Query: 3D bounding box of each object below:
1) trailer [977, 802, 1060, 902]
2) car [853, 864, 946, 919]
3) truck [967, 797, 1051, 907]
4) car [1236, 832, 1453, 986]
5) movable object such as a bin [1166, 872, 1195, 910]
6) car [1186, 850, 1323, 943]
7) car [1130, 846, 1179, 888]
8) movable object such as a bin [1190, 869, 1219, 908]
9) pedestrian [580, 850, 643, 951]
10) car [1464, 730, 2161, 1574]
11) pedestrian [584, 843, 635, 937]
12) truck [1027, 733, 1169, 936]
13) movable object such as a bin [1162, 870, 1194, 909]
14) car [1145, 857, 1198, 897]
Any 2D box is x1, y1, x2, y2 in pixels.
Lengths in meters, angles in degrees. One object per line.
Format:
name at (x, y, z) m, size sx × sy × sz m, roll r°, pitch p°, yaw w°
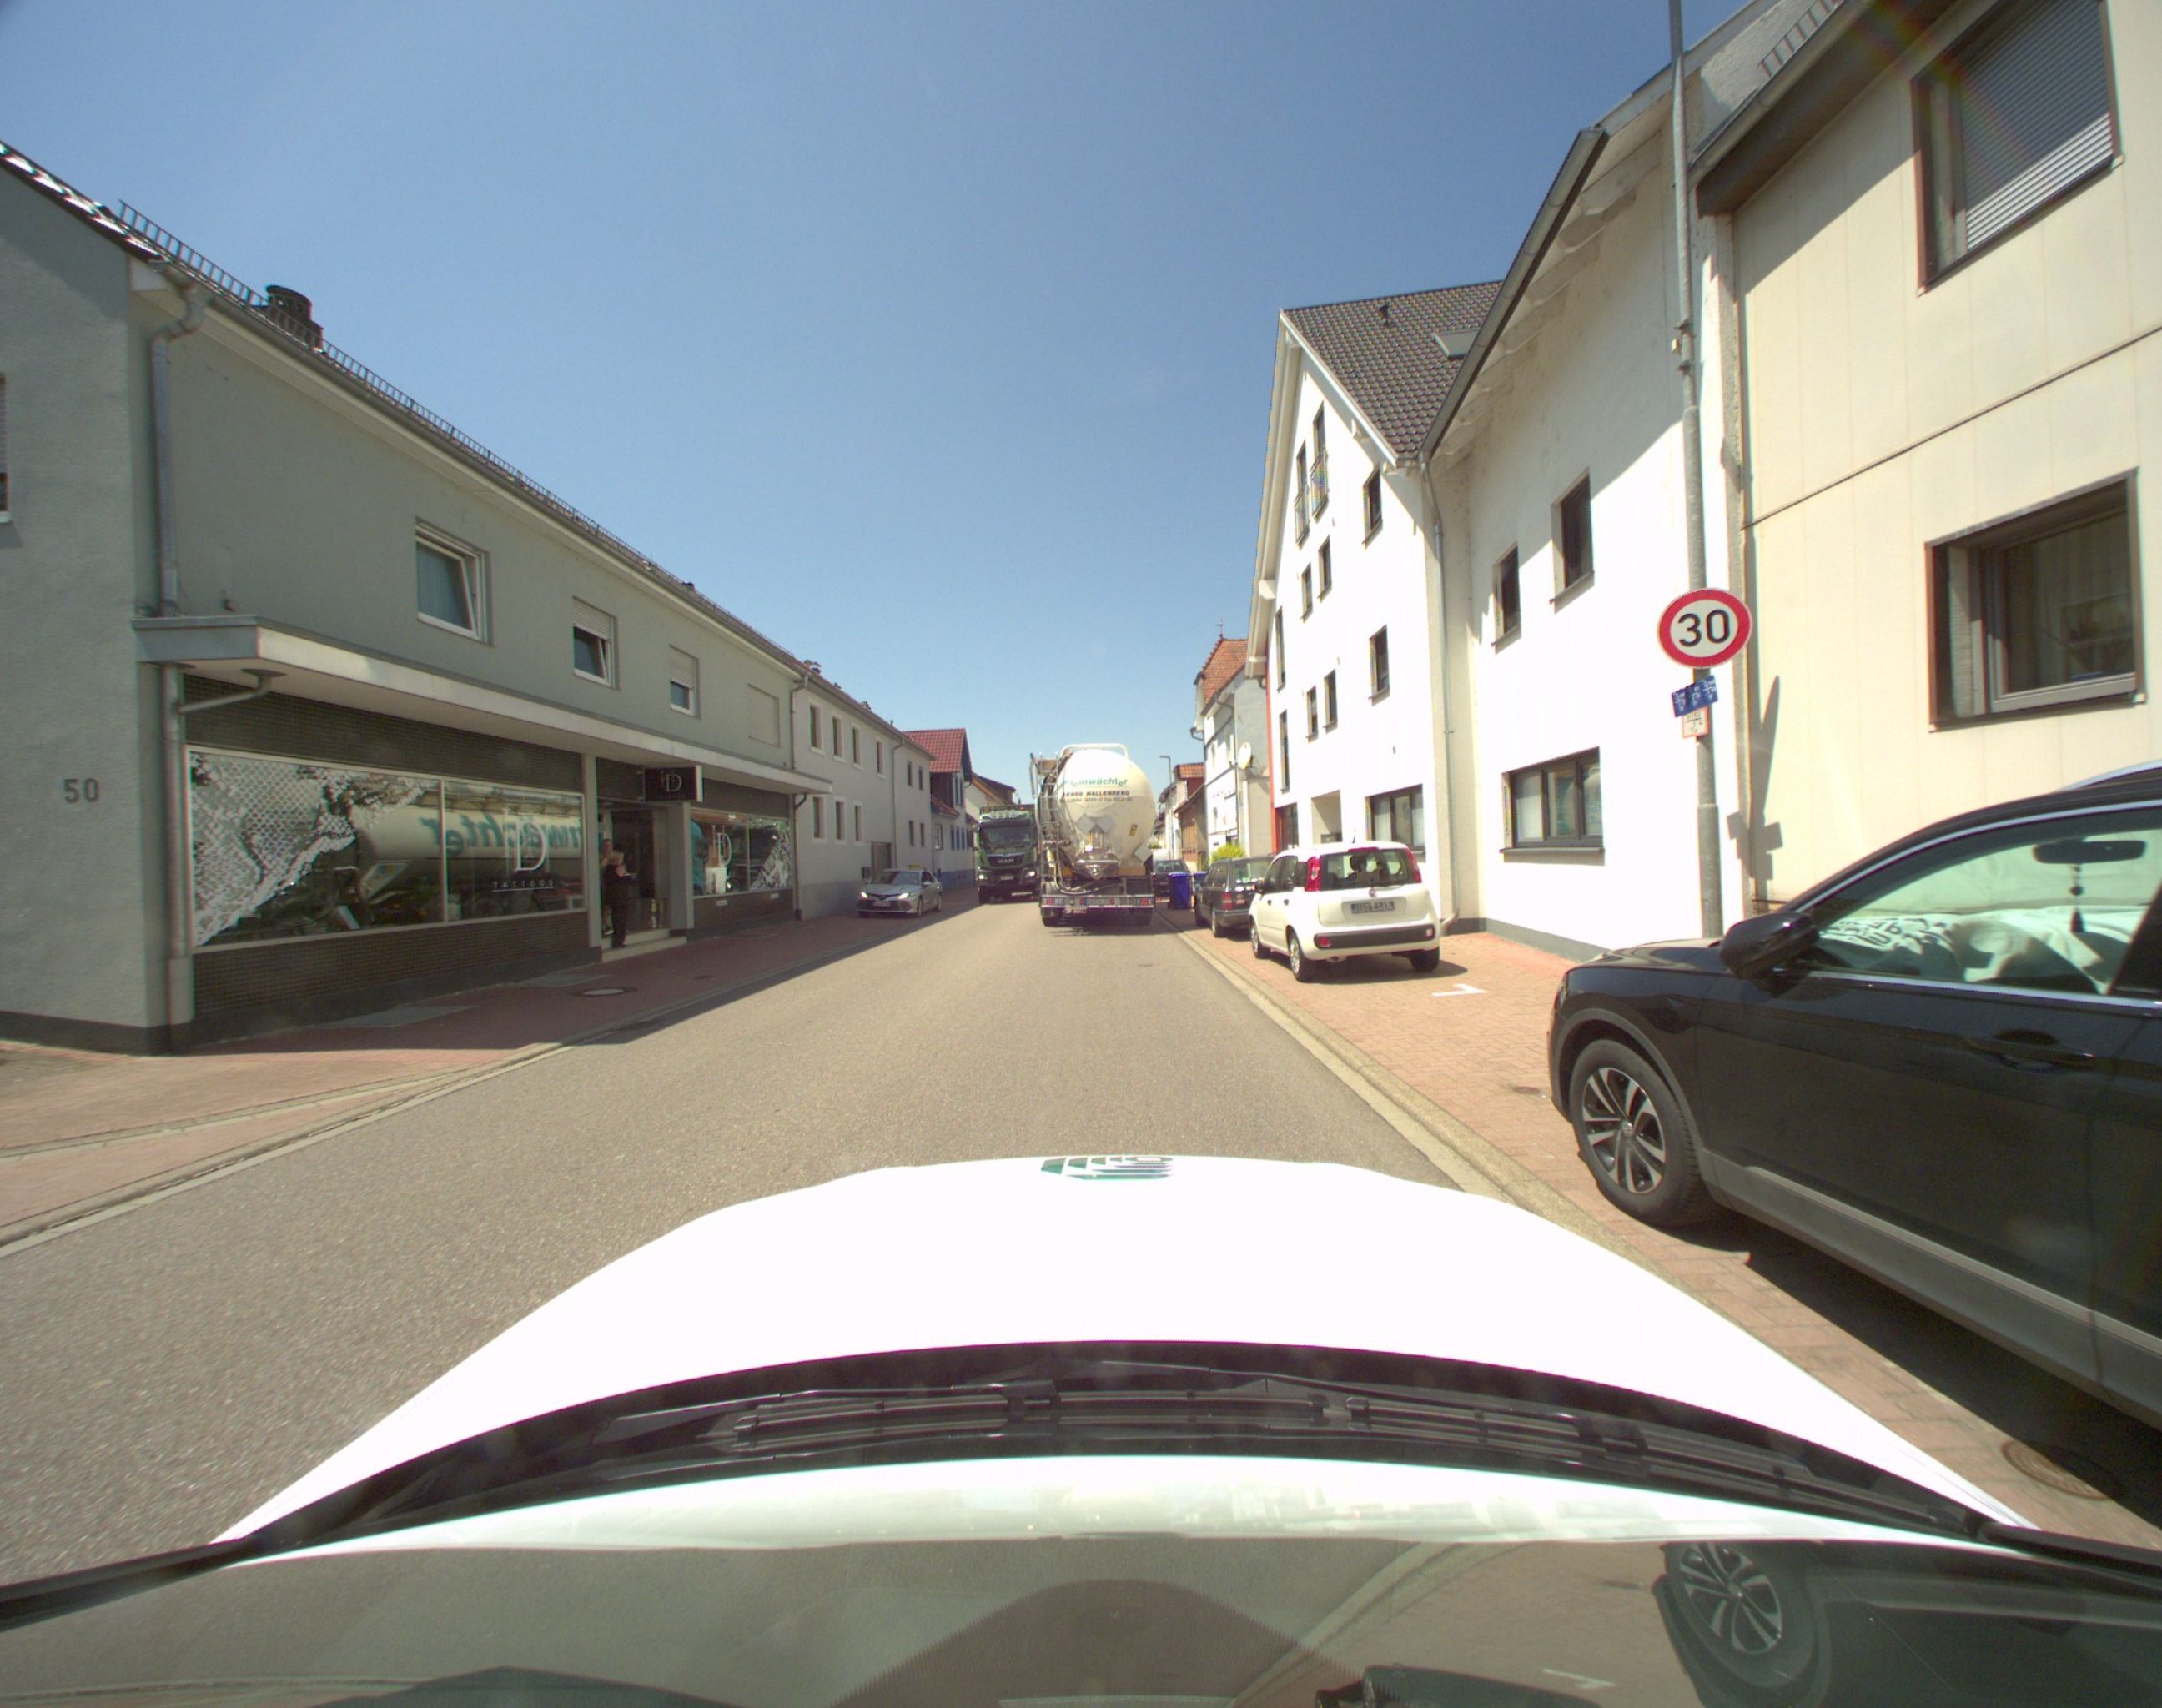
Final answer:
trailer at (-2.773, -0.016, 41.437) m, size 2.622 × 3.979 × 15.698 m, roll -4°, pitch -1°, yaw 1°
car at (-5.592, 1.110, 25.714) m, size 1.802 × 1.557 × 4.566 m, roll 0°, pitch 0°, yaw 1°
truck at (-2.861, -0.053, 34.235) m, size 2.610 × 3.985 × 6.852 m, roll -4°, pitch -1°, yaw 1°
car at (3.168, 0.604, 10.518) m, size 1.601 × 1.522 × 3.545 m, roll -5°, pitch -1°, yaw 1°
movable object such as a bin at (2.896, 1.066, 23.708) m, size 0.650 × 1.035 × 0.687 m, roll -4°, pitch -1°, yaw 17°
car at (3.247, 0.734, 16.193) m, size 1.694 × 1.447 × 4.837 m, roll -5°, pitch -1°, yaw 1°
car at (3.717, 0.635, 41.845) m, size 1.940 × 1.970 × 4.783 m, roll -3°, pitch 0°, yaw -1°
movable object such as a bin at (3.578, 0.982, 23.603) m, size 0.649 × 1.060 × 0.839 m, roll -4°, pitch -1°, yaw 17°
pedestrian at (-8.125, 0.791, 14.120) m, size 0.622 × 1.685 × 0.771 m, roll -1°, pitch -1°, yaw 0°
car at (2.928, 0.512, 2.026) m, size 1.796 × 1.614 × 4.549 m, roll -4°, pitch 0°, yaw 1°
pedestrian at (-8.886, 0.674, 15.349) m, size 0.657 × 1.713 × 0.635 m, roll -2°, pitch -2°, yaw 41°
truck at (0.425, -0.334, 20.142) m, size 2.723 × 3.960 × 8.143 m, roll -1°, pitch -1°, yaw 1°
movable object such as a bin at (2.936, 1.051, 24.497) m, size 0.716 × 1.073 × 0.976 m, roll -4°, pitch -1°, yaw 17°
car at (3.678, 0.917, 33.824) m, size 1.763 × 1.466 × 4.579 m, roll -3°, pitch 0°, yaw 2°
